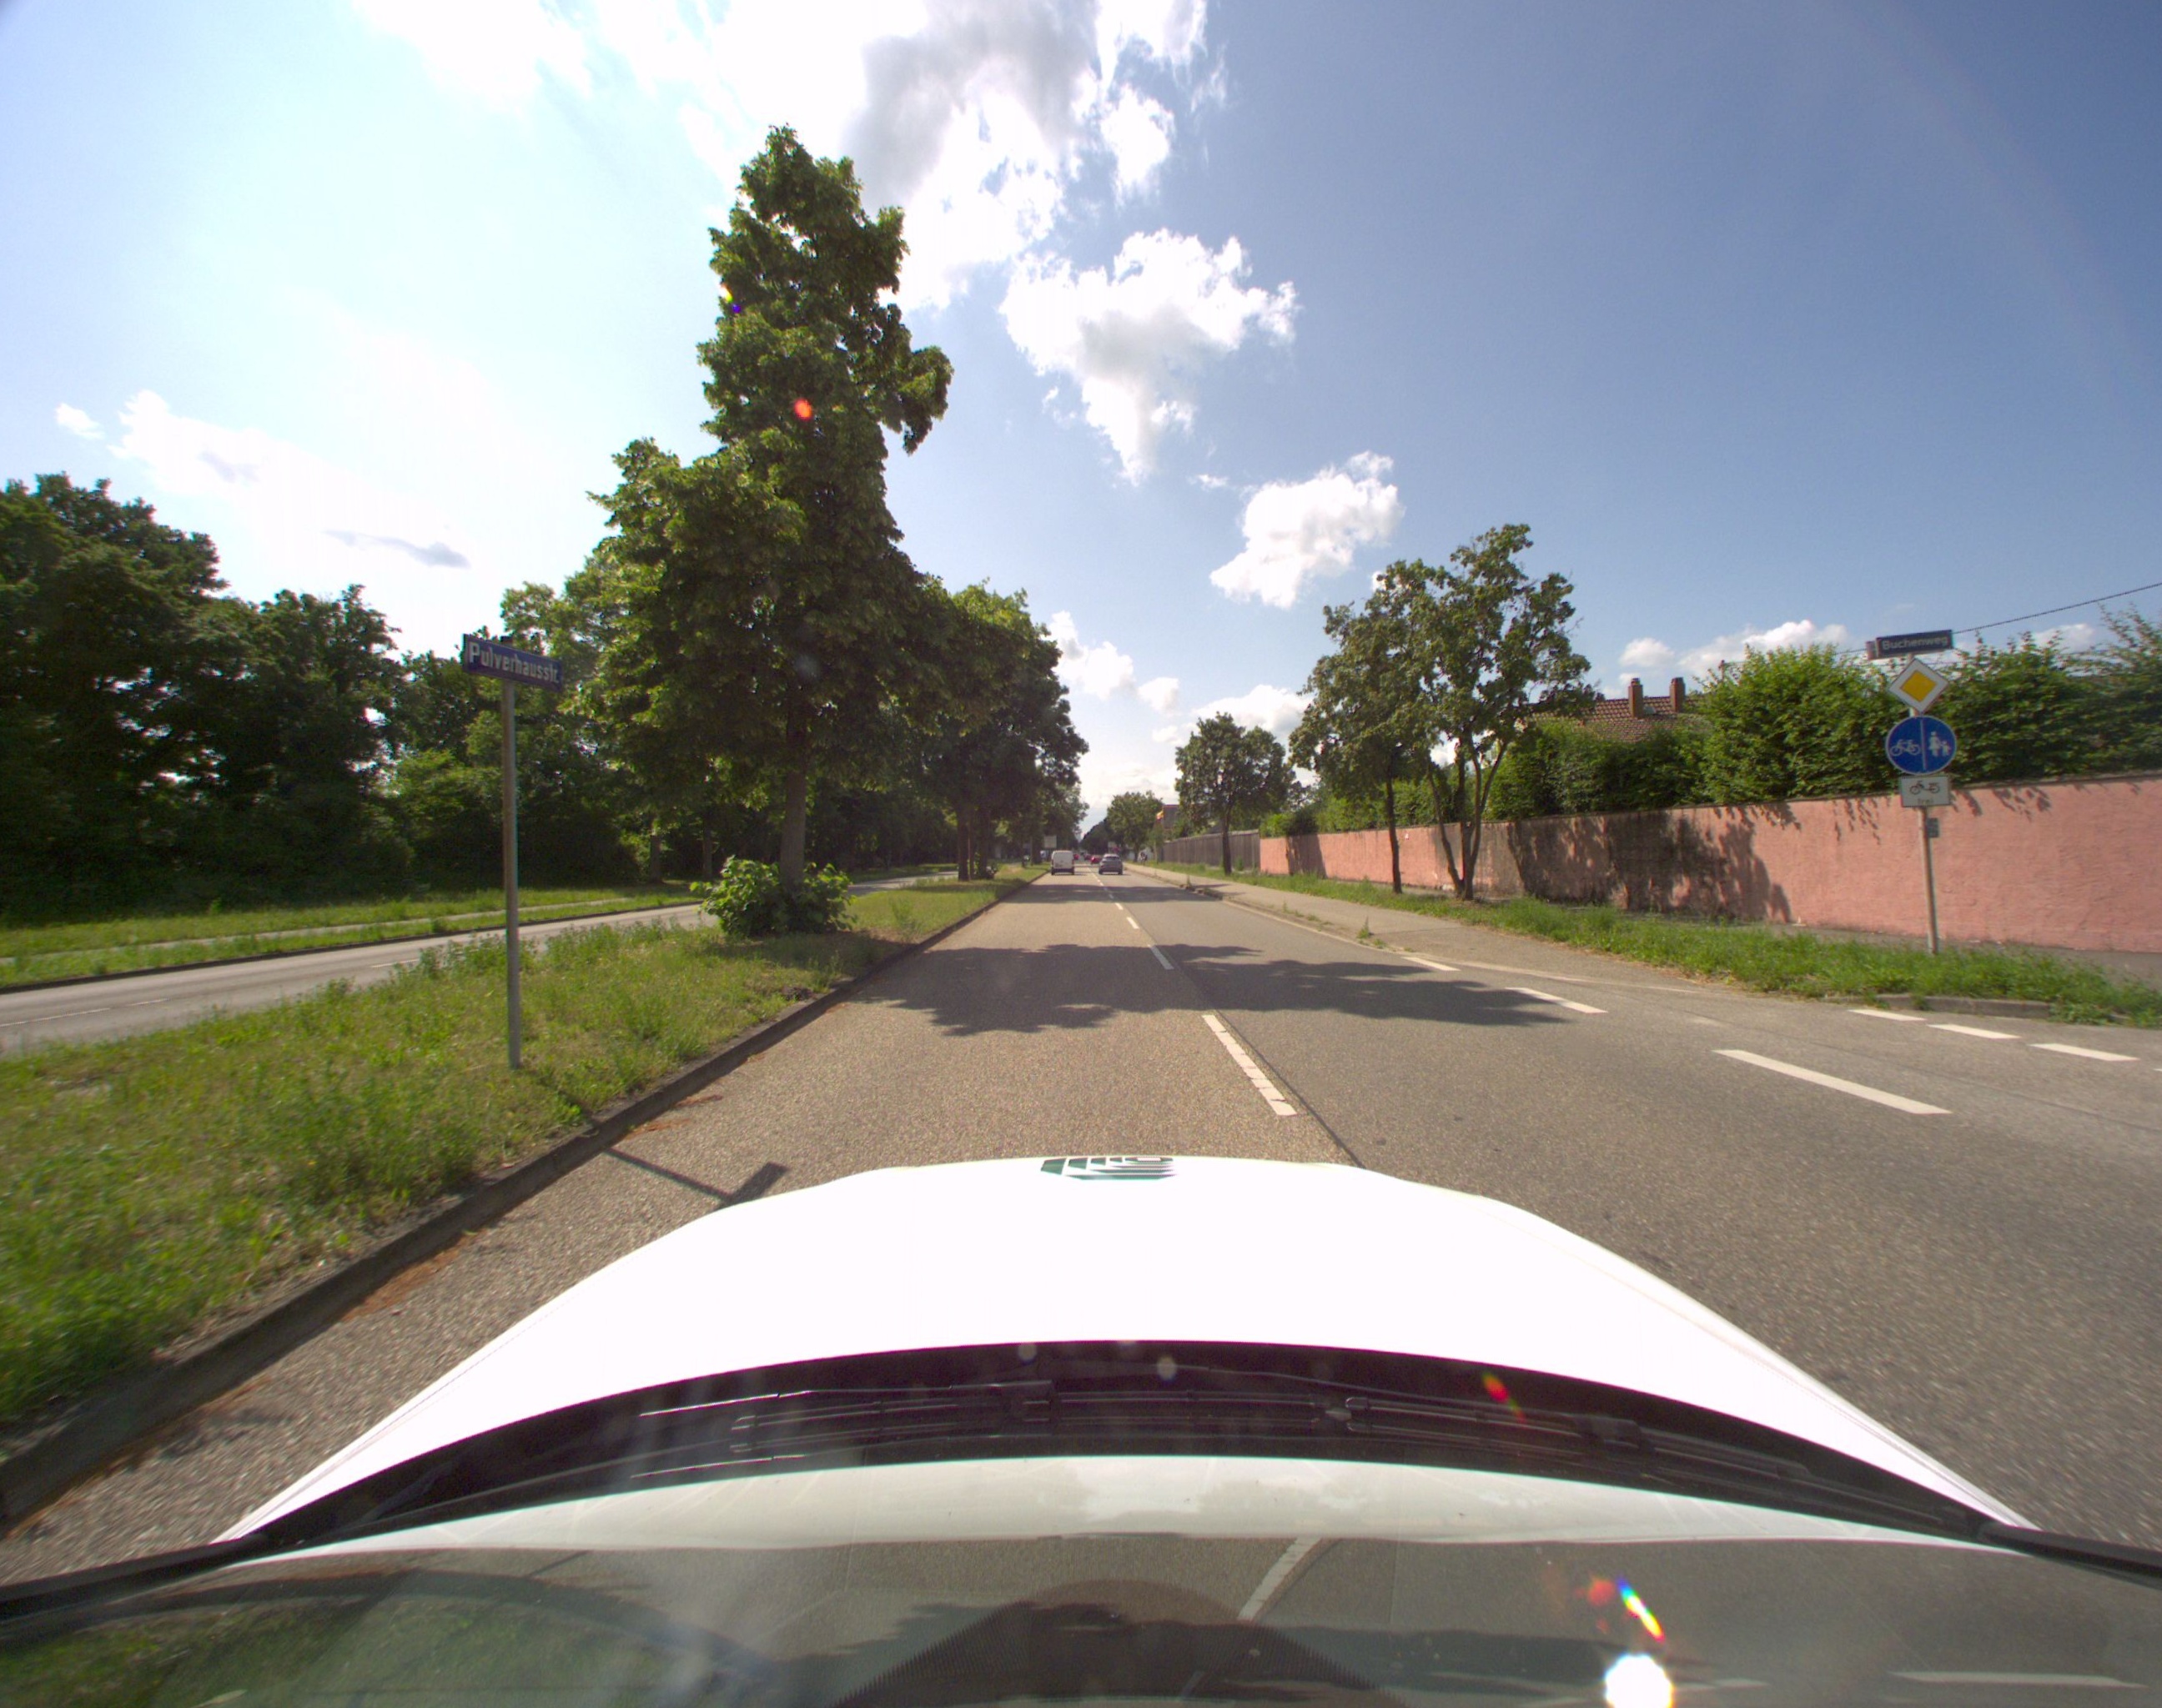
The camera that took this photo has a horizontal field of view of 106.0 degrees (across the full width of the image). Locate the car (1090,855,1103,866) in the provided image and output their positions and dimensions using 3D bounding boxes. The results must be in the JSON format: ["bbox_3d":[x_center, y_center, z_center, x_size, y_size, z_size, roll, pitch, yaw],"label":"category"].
[{"bbox_3d":[2.389,0.918,123.629,1.874,1.587,3.999,-1,0,0],"label":"car"}]

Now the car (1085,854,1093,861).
[{"bbox_3d":[2.140,0.911,209.956,1.987,1.772,4.146,0,0,0],"label":"car"}]

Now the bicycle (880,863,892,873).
[{"bbox_3d":[-18.963,1.366,79.084,0.615,0.878,1.916,-1,0,3],"label":"bicycle"}]

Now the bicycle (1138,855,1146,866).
[{"bbox_3d":[6.385,0.643,84.978,0.644,1.067,2.278,-3,0,1],"label":"bicycle"}]

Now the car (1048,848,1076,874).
[{"bbox_3d":[-1.452,0.498,63.024,2.059,1.912,4.645,-1,0,0],"label":"car"}]

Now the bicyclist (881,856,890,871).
[{"bbox_3d":[-18.969,0.924,79.106,0.615,1.448,0.730,-1,0,2],"label":"bicyclist"}]

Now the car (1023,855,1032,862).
[{"bbox_3d":[-13.518,1.139,205.367,1.987,1.705,4.193,-1,0,0],"label":"car"}]

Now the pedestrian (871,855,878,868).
[{"bbox_3d":[-25.251,0.939,99.471,0.642,1.630,0.656,0,0,0],"label":"pedestrian"}]

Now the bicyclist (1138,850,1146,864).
[{"bbox_3d":[6.365,0.306,84.910,0.652,1.412,0.986,-3,0,0],"label":"bicyclist"}]

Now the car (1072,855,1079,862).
[{"bbox_3d":[-1.388,1.070,211.150,1.935,1.768,4.146,-1,0,0],"label":"car"}]

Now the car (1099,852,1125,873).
[{"bbox_3d":[2.370,0.651,63.785,1.869,1.589,4.184,-1,0,0],"label":"car"}]
